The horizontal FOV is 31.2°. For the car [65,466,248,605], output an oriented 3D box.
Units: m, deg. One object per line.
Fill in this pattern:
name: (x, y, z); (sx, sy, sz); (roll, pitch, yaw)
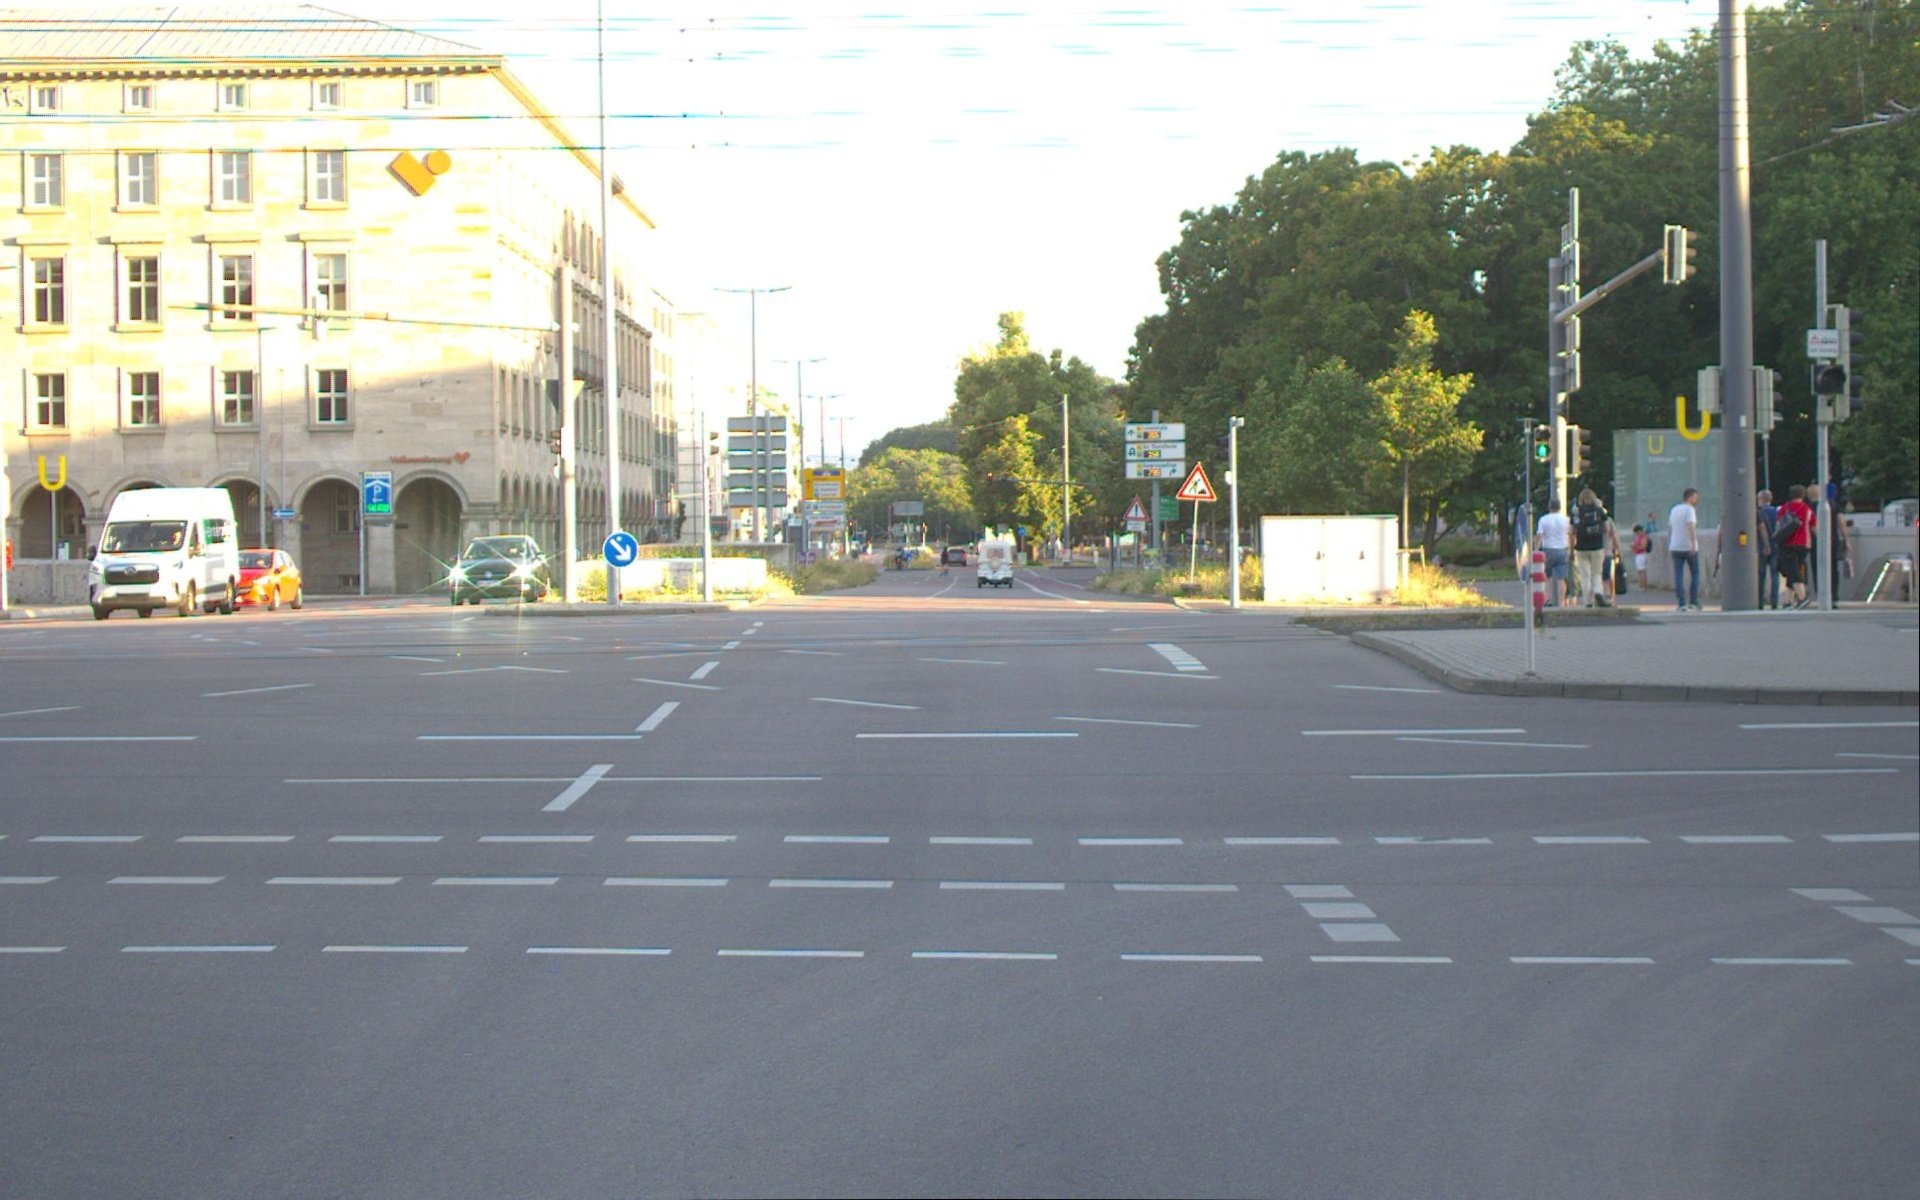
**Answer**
car: (-16.792, -1.380, 72.207); (2.279, 2.766, 6.084); (-1, 1, 1)

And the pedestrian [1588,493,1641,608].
pedestrian: (9.941, -0.755, 52.200); (0.711, 1.719, 0.668); (0, 2, 17)

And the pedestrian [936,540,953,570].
pedestrian: (-0.879, -2.527, 194.346); (0.906, 1.665, 1.307); (-1, 2, -2)

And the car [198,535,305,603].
car: (-16.593, -0.752, 80.682); (1.738, 1.482, 4.001); (-1, 2, -1)

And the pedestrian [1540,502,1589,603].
pedestrian: (10.626, -0.848, 60.415); (0.680, 1.751, 0.901); (0, 2, 20)

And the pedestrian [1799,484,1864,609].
pedestrian: (12.166, -0.753, 48.003); (0.845, 1.728, 0.705); (0, 2, 12)

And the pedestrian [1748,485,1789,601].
pedestrian: (11.714, -0.831, 49.816); (0.572, 1.673, 0.638); (0, 2, 14)

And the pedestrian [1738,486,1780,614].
pedestrian: (11.210, -0.709, 48.237); (0.572, 1.785, 0.638); (0, 2, 14)

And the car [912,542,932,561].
car: (-2.610, -3.327, 234.702); (1.369, 1.230, 3.045); (-1, 2, -1)

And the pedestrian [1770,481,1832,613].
pedestrian: (11.483, -0.725, 46.962); (0.805, 1.785, 0.800); (0, 2, 14)

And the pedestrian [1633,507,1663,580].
pedestrian: (17.337, -1.429, 86.609); (0.666, 1.836, 0.713); (0, 2, 5)

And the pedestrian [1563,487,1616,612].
pedestrian: (8.705, -0.704, 47.529); (0.711, 1.719, 0.914); (0, 2, 11)

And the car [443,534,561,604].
car: (-9.567, -0.673, 72.053); (1.823, 1.337, 4.000); (-1, 2, 2)

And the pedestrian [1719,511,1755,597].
pedestrian: (13.096, -0.777, 57.959); (0.572, 1.433, 0.638); (0, 2, 11)

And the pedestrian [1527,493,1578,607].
pedestrian: (9.036, -0.770, 52.416); (0.711, 1.719, 0.668); (0, 2, 13)

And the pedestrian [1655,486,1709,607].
pedestrian: (10.387, -0.773, 49.458); (0.711, 1.719, 0.915); (0, 2, 9)

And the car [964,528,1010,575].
car: (0.991, -1.831, 128.478); (1.483, 1.690, 2.974); (-1, 2, -3)
